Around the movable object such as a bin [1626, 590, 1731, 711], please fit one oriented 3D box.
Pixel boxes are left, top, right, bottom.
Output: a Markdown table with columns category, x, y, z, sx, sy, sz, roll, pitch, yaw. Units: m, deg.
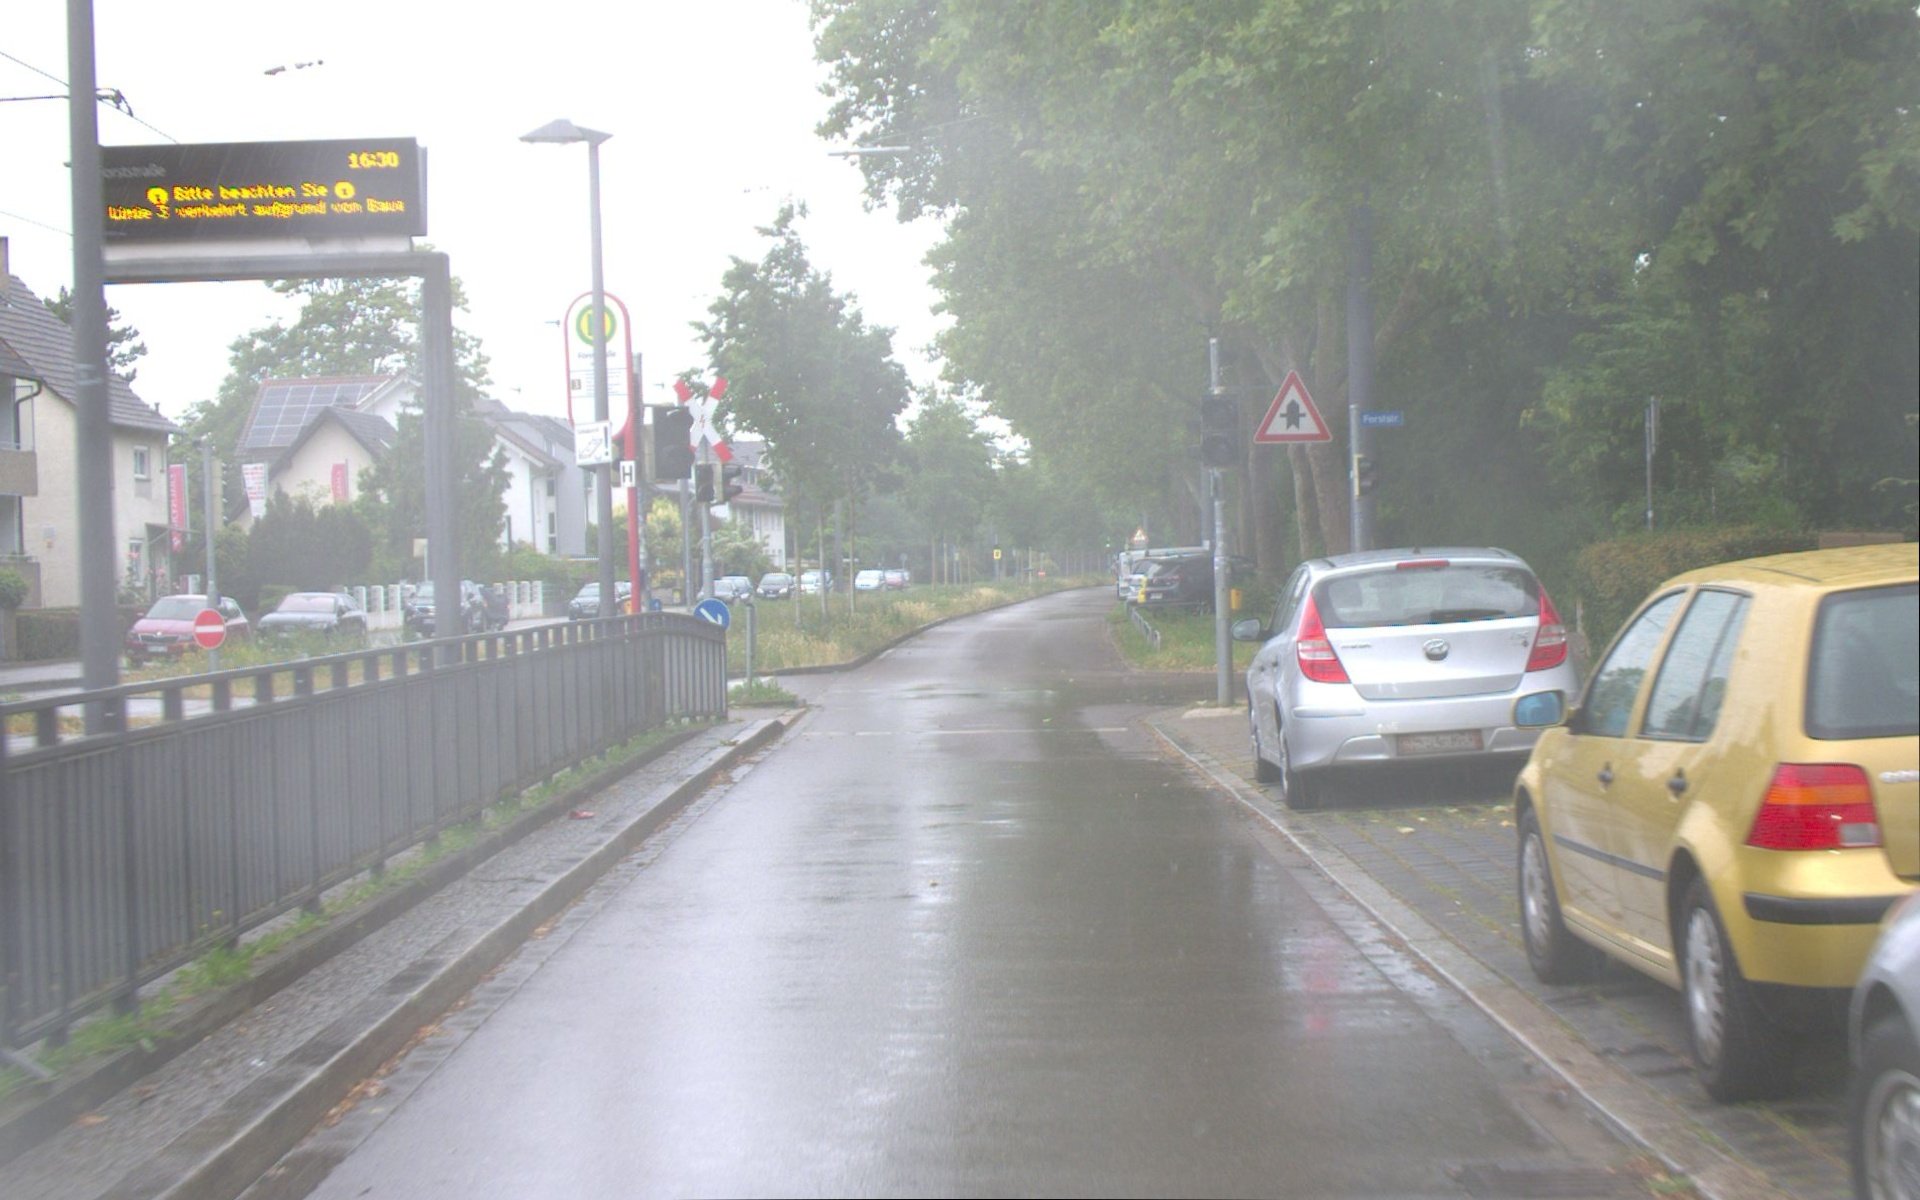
| category | x | y | z | sx | sy | sz | roll | pitch | yaw |
| --- | --- | --- | --- | --- | --- | --- | --- | --- | --- |
| movable object such as a bin | 6.415 | 0.445 | 30.721 | 0.692 | 1.018 | 0.824 | -4 | 0 | 0 |

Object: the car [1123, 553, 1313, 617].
| category | x | y | z | sx | sy | sz | roll | pitch | yaw |
| --- | --- | --- | --- | --- | --- | --- | --- | --- | --- |
| car | 6.019 | -0.346 | 80.351 | 3.986 | 1.448 | 2.000 | 0 | 0 | -14 |

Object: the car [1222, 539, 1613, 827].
| category | x | y | z | sx | sy | sz | roll | pitch | yaw |
| --- | --- | --- | --- | --- | --- | --- | --- | --- | --- |
| car | 2.699 | 0.477 | 21.092 | 1.807 | 1.462 | 3.794 | -5 | 0 | 0 |

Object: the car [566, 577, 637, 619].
| category | x | y | z | sx | sy | sz | roll | pitch | yaw |
| --- | --- | --- | --- | --- | --- | --- | --- | --- | --- |
| car | -12.940 | -0.072 | 124.211 | 1.928 | 1.481 | 3.999 | -1 | 0 | 3 |

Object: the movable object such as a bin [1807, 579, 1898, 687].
| category | x | y | z | sx | sy | sz | roll | pitch | yaw |
| --- | --- | --- | --- | --- | --- | --- | --- | --- | --- |
| movable object such as a bin | 7.744 | 0.283 | 29.836 | 0.536 | 0.896 | 0.739 | -4 | 0 | 0 |

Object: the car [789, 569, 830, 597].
| category | x | y | z | sx | sy | sz | roll | pitch | yaw |
| --- | --- | --- | --- | --- | --- | --- | --- | --- | --- |
| car | -8.433 | -0.952 | 192.874 | 1.928 | 1.481 | 3.999 | -1 | 0 | 3 |

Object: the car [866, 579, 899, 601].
| category | x | y | z | sx | sy | sz | roll | pitch | yaw |
| --- | --- | --- | --- | --- | --- | --- | --- | --- | --- |
| car | -5.339 | -0.672 | 236.849 | 1.928 | 1.481 | 3.999 | -1 | 0 | 3 |

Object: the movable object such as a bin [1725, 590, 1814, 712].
| category | x | y | z | sx | sy | sz | roll | pitch | yaw |
| --- | --- | --- | --- | --- | --- | --- | --- | --- | --- |
| movable object such as a bin | 7.076 | 0.439 | 30.084 | 0.536 | 1.018 | 0.739 | -4 | 0 | 0 |

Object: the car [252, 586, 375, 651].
| category | x | y | z | sx | sy | sz | roll | pitch | yaw |
| --- | --- | --- | --- | --- | --- | --- | --- | --- | --- |
| car | -15.151 | 0.437 | 80.738 | 1.928 | 1.481 | 3.999 | -1 | 0 | 3 |

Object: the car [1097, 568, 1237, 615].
| category | x | y | z | sx | sy | sz | roll | pitch | yaw |
| --- | --- | --- | --- | --- | --- | --- | --- | --- | --- |
| car | 6.503 | -0.270 | 108.228 | 3.986 | 1.448 | 2.000 | 0 | 0 | -14 |

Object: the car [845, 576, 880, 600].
| category | x | y | z | sx | sy | sz | roll | pitch | yaw |
| --- | --- | --- | --- | --- | --- | --- | --- | --- | --- |
| car | -6.326 | -0.751 | 222.695 | 1.928 | 1.481 | 3.999 | -1 | 0 | 3 |

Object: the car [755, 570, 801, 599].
| category | x | y | z | sx | sy | sz | roll | pitch | yaw |
| --- | --- | --- | --- | --- | --- | --- | --- | --- | --- |
| car | -9.563 | -0.794 | 180.917 | 1.928 | 1.481 | 3.999 | -1 | 0 | 3 |

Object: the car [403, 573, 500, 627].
| category | x | y | z | sx | sy | sz | roll | pitch | yaw |
| --- | --- | --- | --- | --- | --- | --- | --- | --- | --- |
| car | -14.415 | -0.001 | 97.676 | 1.928 | 1.481 | 3.999 | -1 | 0 | 3 |

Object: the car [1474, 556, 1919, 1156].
| category | x | y | z | sx | sy | sz | roll | pitch | yaw |
| --- | --- | --- | --- | --- | --- | --- | --- | --- | --- |
| car | 2.752 | 0.583 | 10.184 | 1.807 | 1.400 | 3.794 | -5 | 0 | 0 |

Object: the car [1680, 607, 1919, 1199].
| category | x | y | z | sx | sy | sz | roll | pitch | yaw |
| --- | --- | --- | --- | --- | --- | --- | --- | --- | --- |
| car | 2.495 | 0.677 | 5.466 | 1.650 | 1.400 | 4.649 | -5 | 0 | 0 |

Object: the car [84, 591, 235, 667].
| category | x | y | z | sx | sy | sz | roll | pitch | yaw |
| --- | --- | --- | --- | --- | --- | --- | --- | --- | --- |
| car | -16.233 | 0.579 | 69.864 | 1.928 | 1.481 | 3.999 | -1 | 0 | 3 |

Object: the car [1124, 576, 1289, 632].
| category | x | y | z | sx | sy | sz | roll | pitch | yaw |
| --- | --- | --- | --- | --- | --- | --- | --- | --- | --- |
| car | 6.602 | 0.107 | 92.425 | 3.986 | 1.448 | 2.000 | 0 | 0 | -14 |

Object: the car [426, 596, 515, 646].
| category | x | y | z | sx | sy | sz | roll | pitch | yaw |
| --- | --- | --- | --- | --- | --- | --- | --- | --- | --- |
| car | -14.852 | 0.631 | 104.494 | 1.928 | 1.481 | 3.999 | -1 | 0 | 3 |
